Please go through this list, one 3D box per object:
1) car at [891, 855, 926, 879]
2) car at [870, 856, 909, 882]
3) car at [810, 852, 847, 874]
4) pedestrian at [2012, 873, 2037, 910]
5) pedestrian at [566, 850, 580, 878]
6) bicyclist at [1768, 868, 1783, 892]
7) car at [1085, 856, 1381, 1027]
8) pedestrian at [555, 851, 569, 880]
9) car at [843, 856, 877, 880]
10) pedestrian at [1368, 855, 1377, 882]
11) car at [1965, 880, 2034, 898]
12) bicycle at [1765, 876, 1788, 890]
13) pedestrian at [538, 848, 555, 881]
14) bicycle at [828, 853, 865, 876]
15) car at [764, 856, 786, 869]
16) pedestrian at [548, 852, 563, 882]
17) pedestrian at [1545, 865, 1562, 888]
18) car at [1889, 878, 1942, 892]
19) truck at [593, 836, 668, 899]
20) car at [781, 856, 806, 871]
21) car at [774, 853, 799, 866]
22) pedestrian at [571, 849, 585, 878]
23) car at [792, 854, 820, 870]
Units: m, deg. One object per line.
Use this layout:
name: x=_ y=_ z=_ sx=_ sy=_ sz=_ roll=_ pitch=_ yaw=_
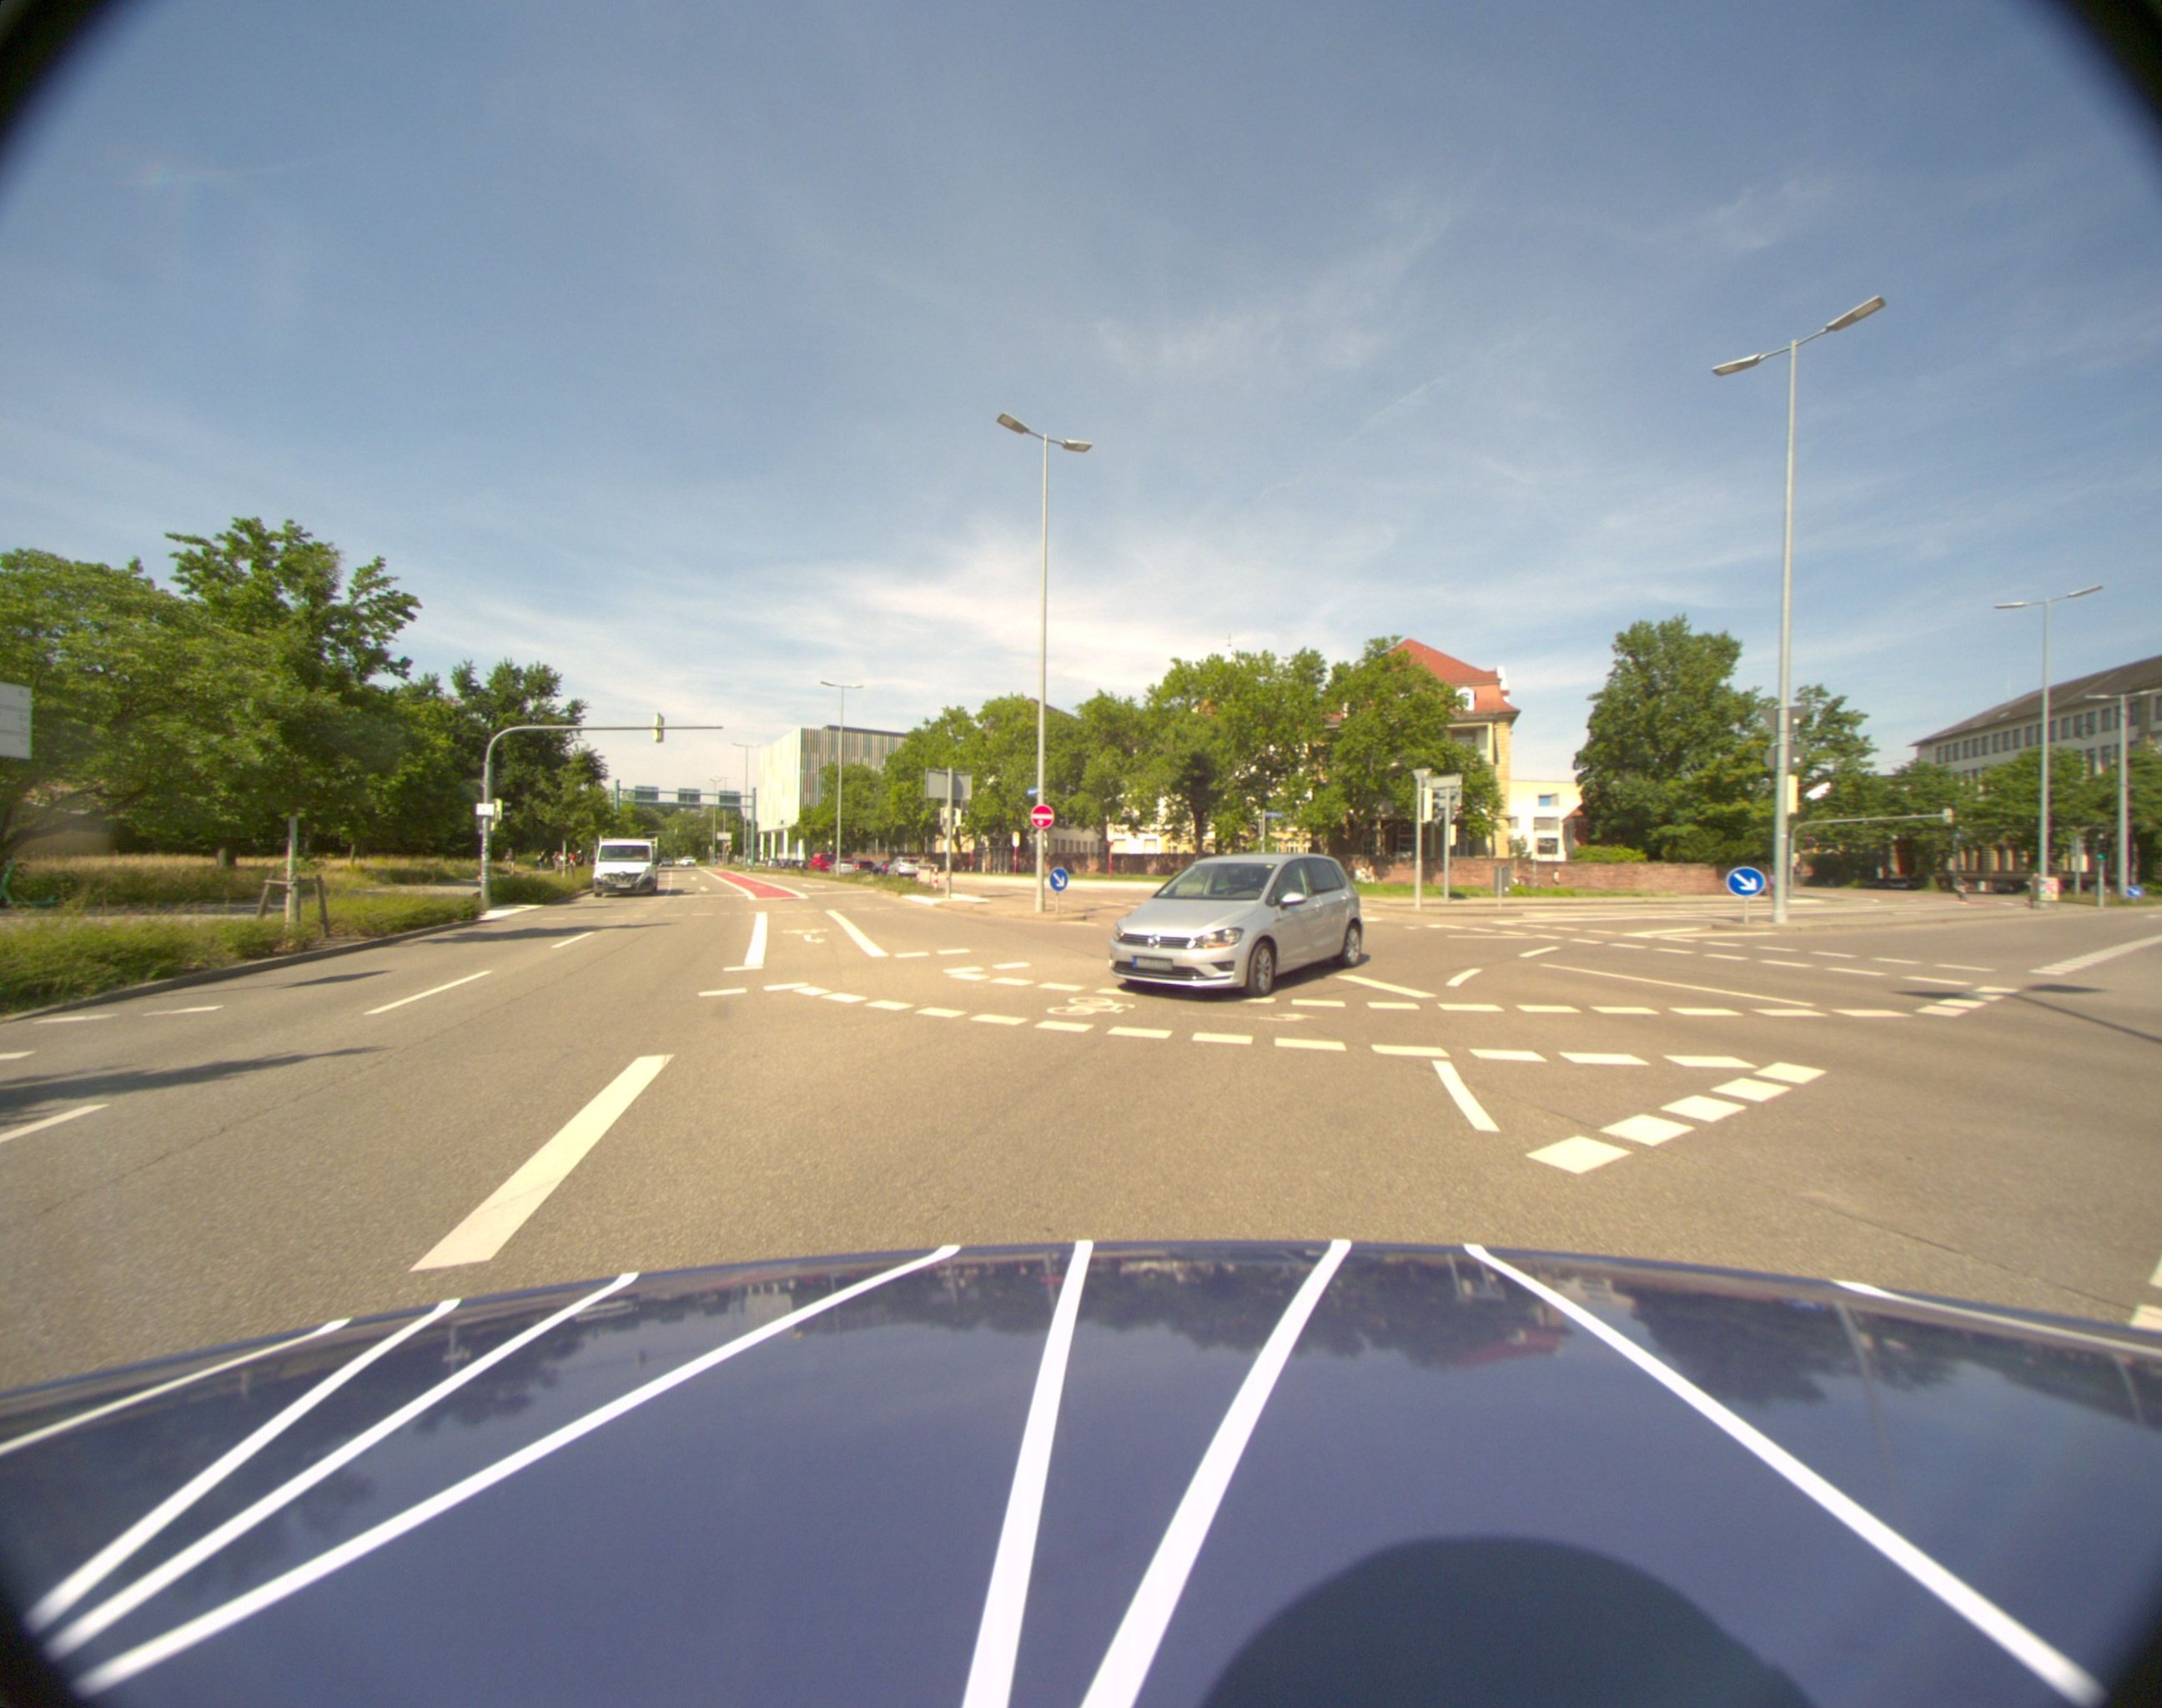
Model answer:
car: x=-12.670 y=0.948 z=55.699 sx=1.714 sy=1.608 sz=4.208 roll=1 pitch=0 yaw=-24
car: x=-15.377 y=1.208 z=60.819 sx=2.003 sy=2.001 sz=3.992 roll=1 pitch=-2 yaw=-30
car: x=-22.050 y=0.764 z=66.198 sx=1.983 sy=1.786 sz=4.599 roll=1 pitch=0 yaw=-33
pedestrian: x=52.728 y=2.082 z=42.474 sx=0.793 sy=2.001 sz=0.617 roll=1 pitch=0 yaw=43
pedestrian: x=-45.398 y=0.893 z=67.923 sx=0.956 sy=2.518 sz=1.121 roll=1 pitch=-2 yaw=-31
bicyclist: x=46.528 y=1.733 z=50.917 sx=1.087 sy=1.627 sz=0.487 roll=1 pitch=0 yaw=-35
car: x=2.063 y=0.849 z=9.382 sx=1.684 sy=1.577 sz=4.160 roll=1 pitch=1 yaw=42
pedestrian: x=-45.277 y=0.988 z=66.316 sx=0.956 sy=2.518 sz=1.121 roll=1 pitch=-2 yaw=-31
car: x=-19.455 y=1.259 z=66.885 sx=2.003 sy=2.001 sz=3.992 roll=1 pitch=-2 yaw=-30
pedestrian: x=21.749 y=1.084 z=56.670 sx=0.595 sy=2.002 sz=0.524 roll=1 pitch=0 yaw=17
car: x=93.903 y=3.591 z=77.760 sx=3.990 sy=1.652 sz=2.003 roll=-1 pitch=0 yaw=23
bicycle: x=46.238 y=1.910 z=50.511 sx=1.936 sy=0.882 sz=0.683 roll=1 pitch=0 yaw=-34
pedestrian: x=-41.683 y=0.843 z=59.293 sx=0.956 sy=2.518 sz=1.121 roll=1 pitch=-2 yaw=-31
bicycle: x=-18.845 y=0.801 z=60.901 sx=2.003 sy=1.804 sz=3.990 roll=1 pitch=0 yaw=-30
car: x=-40.022 y=1.087 z=99.358 sx=1.803 sy=1.501 sz=3.989 roll=-1 pitch=1 yaw=-33
pedestrian: x=-44.719 y=1.078 z=64.663 sx=0.956 sy=2.518 sz=1.121 roll=1 pitch=-2 yaw=-31
pedestrian: x=33.111 y=1.586 z=53.250 sx=0.911 sy=1.539 sz=0.504 roll=1 pitch=0 yaw=22
car: x=103.303 y=3.831 z=94.128 sx=3.991 sy=1.652 sz=2.003 roll=-1 pitch=0 yaw=22
truck: x=-18.827 y=0.476 z=31.774 sx=2.417 sy=2.342 sz=7.030 roll=-1 pitch=1 yaw=-31
car: x=-30.864 y=1.046 z=81.549 sx=1.803 sy=1.501 sz=3.990 roll=-1 pitch=1 yaw=-31
car: x=-34.342 y=0.618 z=88.580 sx=1.803 sy=1.501 sz=3.989 roll=-1 pitch=1 yaw=-33
pedestrian: x=-44.163 y=0.837 z=66.706 sx=0.956 sy=2.518 sz=1.121 roll=1 pitch=-2 yaw=-31
car: x=-27.413 y=0.786 z=75.619 sx=1.803 sy=1.501 sz=3.990 roll=-1 pitch=1 yaw=-31
